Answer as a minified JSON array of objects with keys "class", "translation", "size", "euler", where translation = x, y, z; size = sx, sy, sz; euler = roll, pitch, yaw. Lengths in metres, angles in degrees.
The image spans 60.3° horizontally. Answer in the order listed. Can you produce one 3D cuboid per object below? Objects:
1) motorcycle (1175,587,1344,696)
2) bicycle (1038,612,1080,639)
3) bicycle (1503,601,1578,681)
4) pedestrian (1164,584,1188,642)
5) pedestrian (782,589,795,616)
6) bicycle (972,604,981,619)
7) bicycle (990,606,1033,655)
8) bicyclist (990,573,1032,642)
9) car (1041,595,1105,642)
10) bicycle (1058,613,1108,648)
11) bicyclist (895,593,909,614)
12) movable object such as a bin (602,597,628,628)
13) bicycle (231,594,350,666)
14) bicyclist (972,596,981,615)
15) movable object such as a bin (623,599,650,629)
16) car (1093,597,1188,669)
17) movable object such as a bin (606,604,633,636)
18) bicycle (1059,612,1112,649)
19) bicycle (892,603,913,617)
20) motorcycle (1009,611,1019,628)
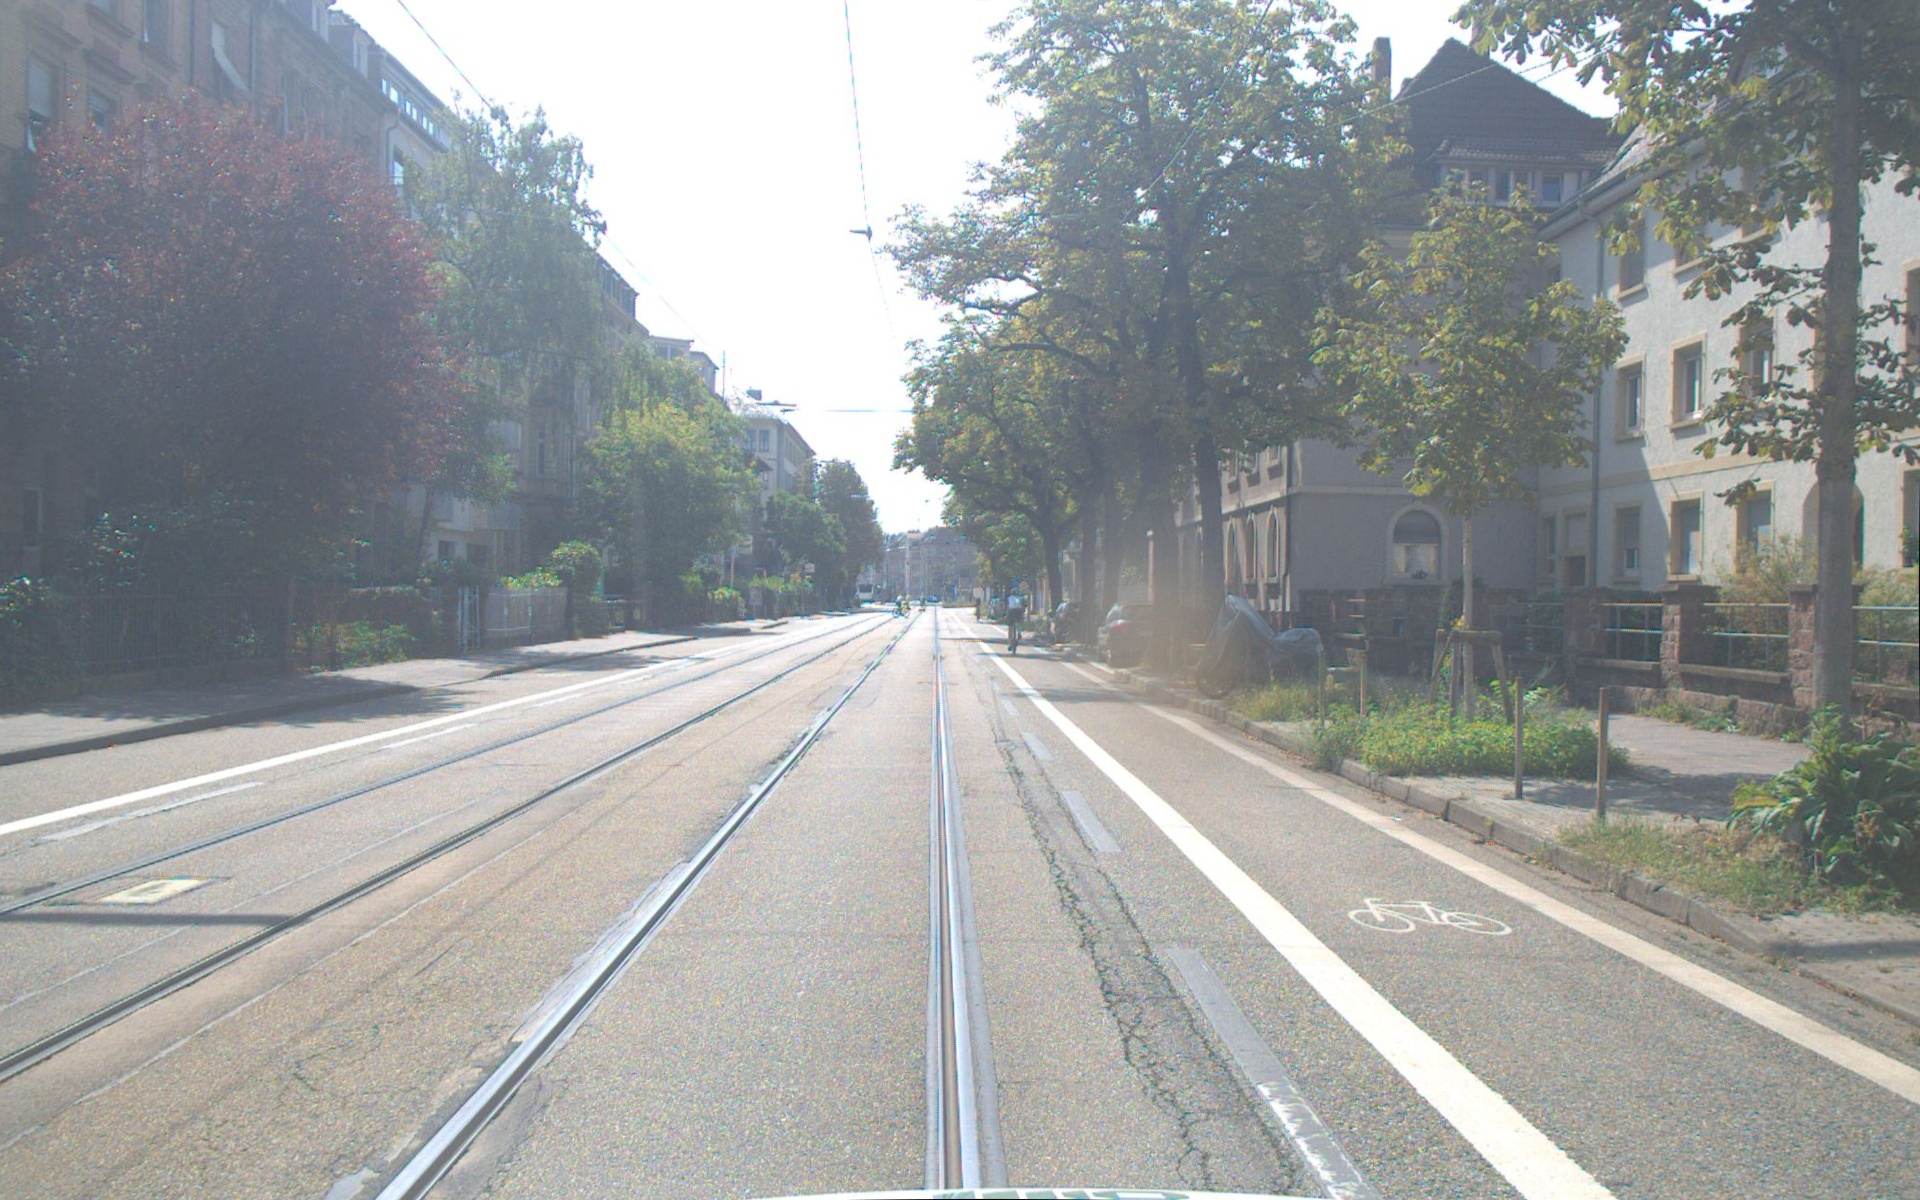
[{"class":"motorcycle","translation":[4.455,0.632,24.719],"size":[2.303,1.567,0.963],"euler":[-2,-2,41]},{"class":"bicycle","translation":[4.077,1.047,68.114],"size":[1.678,1.050,0.566],"euler":[1,0,0]},{"class":"bicycle","translation":[10.488,0.720,29.977],"size":[0.582,1.382,2.369],"euler":[1,0,2]},{"class":"pedestrian","translation":[7.259,0.435,55.657],"size":[0.692,1.925,0.714],"euler":[1,-1,0]},{"class":"pedestrian","translation":[-11.587,0.174,111.724],"size":[0.764,1.787,1.040],"euler":[0,-1,-1]},{"class":"bicycle","translation":[1.134,0.788,112.493],"size":[0.576,0.955,2.172],"euler":[1,0,1]},{"class":"bicycle","translation":[1.416,0.831,45.887],"size":[1.124,1.291,2.712],"euler":[1,0,1]},{"class":"bicyclist","translation":[1.413,0.210,45.800],"size":[1.102,1.869,0.955],"euler":[1,-1,0]},{"class":"car","translation":[3.916,0.630,58.008],"size":[1.803,1.559,4.778],"euler":[-1,0,-1]},{"class":"bicycle","translation":[3.997,0.985,53.712],"size":[1.572,1.123,0.399],"euler":[1,0,5]},{"class":"bicyclist","translation":[-4.087,0.254,117.189],"size":[0.743,1.416,0.779],"euler":[0,-1,19]},{"class":"movable object such as a bin","translation":[-12.869,0.464,61.713],"size":[0.770,1.094,0.803],"euler":[2,0,2]},{"class":"bicycle","translation":[-11.913,0.527,29.453],"size":[1.775,1.202,0.716],"euler":[2,0,1]},{"class":"bicyclist","translation":[1.136,0.392,112.445],"size":[0.567,1.301,0.471],"euler":[1,-1,1]},{"class":"movable object such as a bin","translation":[-12.082,0.508,61.780],"size":[0.770,1.094,0.803],"euler":[2,0,2]},{"class":"car","translation":[4.360,0.770,40.468],"size":[1.803,1.559,4.114],"euler":[0,2,-1]},{"class":"movable object such as a bin","translation":[-11.928,0.686,57.884],"size":[0.771,1.094,0.754],"euler":[2,0,-3]},{"class":"bicycle","translation":[4.106,0.986,54.099],"size":[1.686,1.169,0.377],"euler":[1,0,5]},{"class":"bicycle","translation":[-4.057,0.727,117.289],"size":[0.743,1.008,2.299],"euler":[1,-1,18]},{"class":"motorcycle","translation":[3.605,1.288,110.117],"size":[0.537,1.086,2.330],"euler":[1,0,-1]}]
